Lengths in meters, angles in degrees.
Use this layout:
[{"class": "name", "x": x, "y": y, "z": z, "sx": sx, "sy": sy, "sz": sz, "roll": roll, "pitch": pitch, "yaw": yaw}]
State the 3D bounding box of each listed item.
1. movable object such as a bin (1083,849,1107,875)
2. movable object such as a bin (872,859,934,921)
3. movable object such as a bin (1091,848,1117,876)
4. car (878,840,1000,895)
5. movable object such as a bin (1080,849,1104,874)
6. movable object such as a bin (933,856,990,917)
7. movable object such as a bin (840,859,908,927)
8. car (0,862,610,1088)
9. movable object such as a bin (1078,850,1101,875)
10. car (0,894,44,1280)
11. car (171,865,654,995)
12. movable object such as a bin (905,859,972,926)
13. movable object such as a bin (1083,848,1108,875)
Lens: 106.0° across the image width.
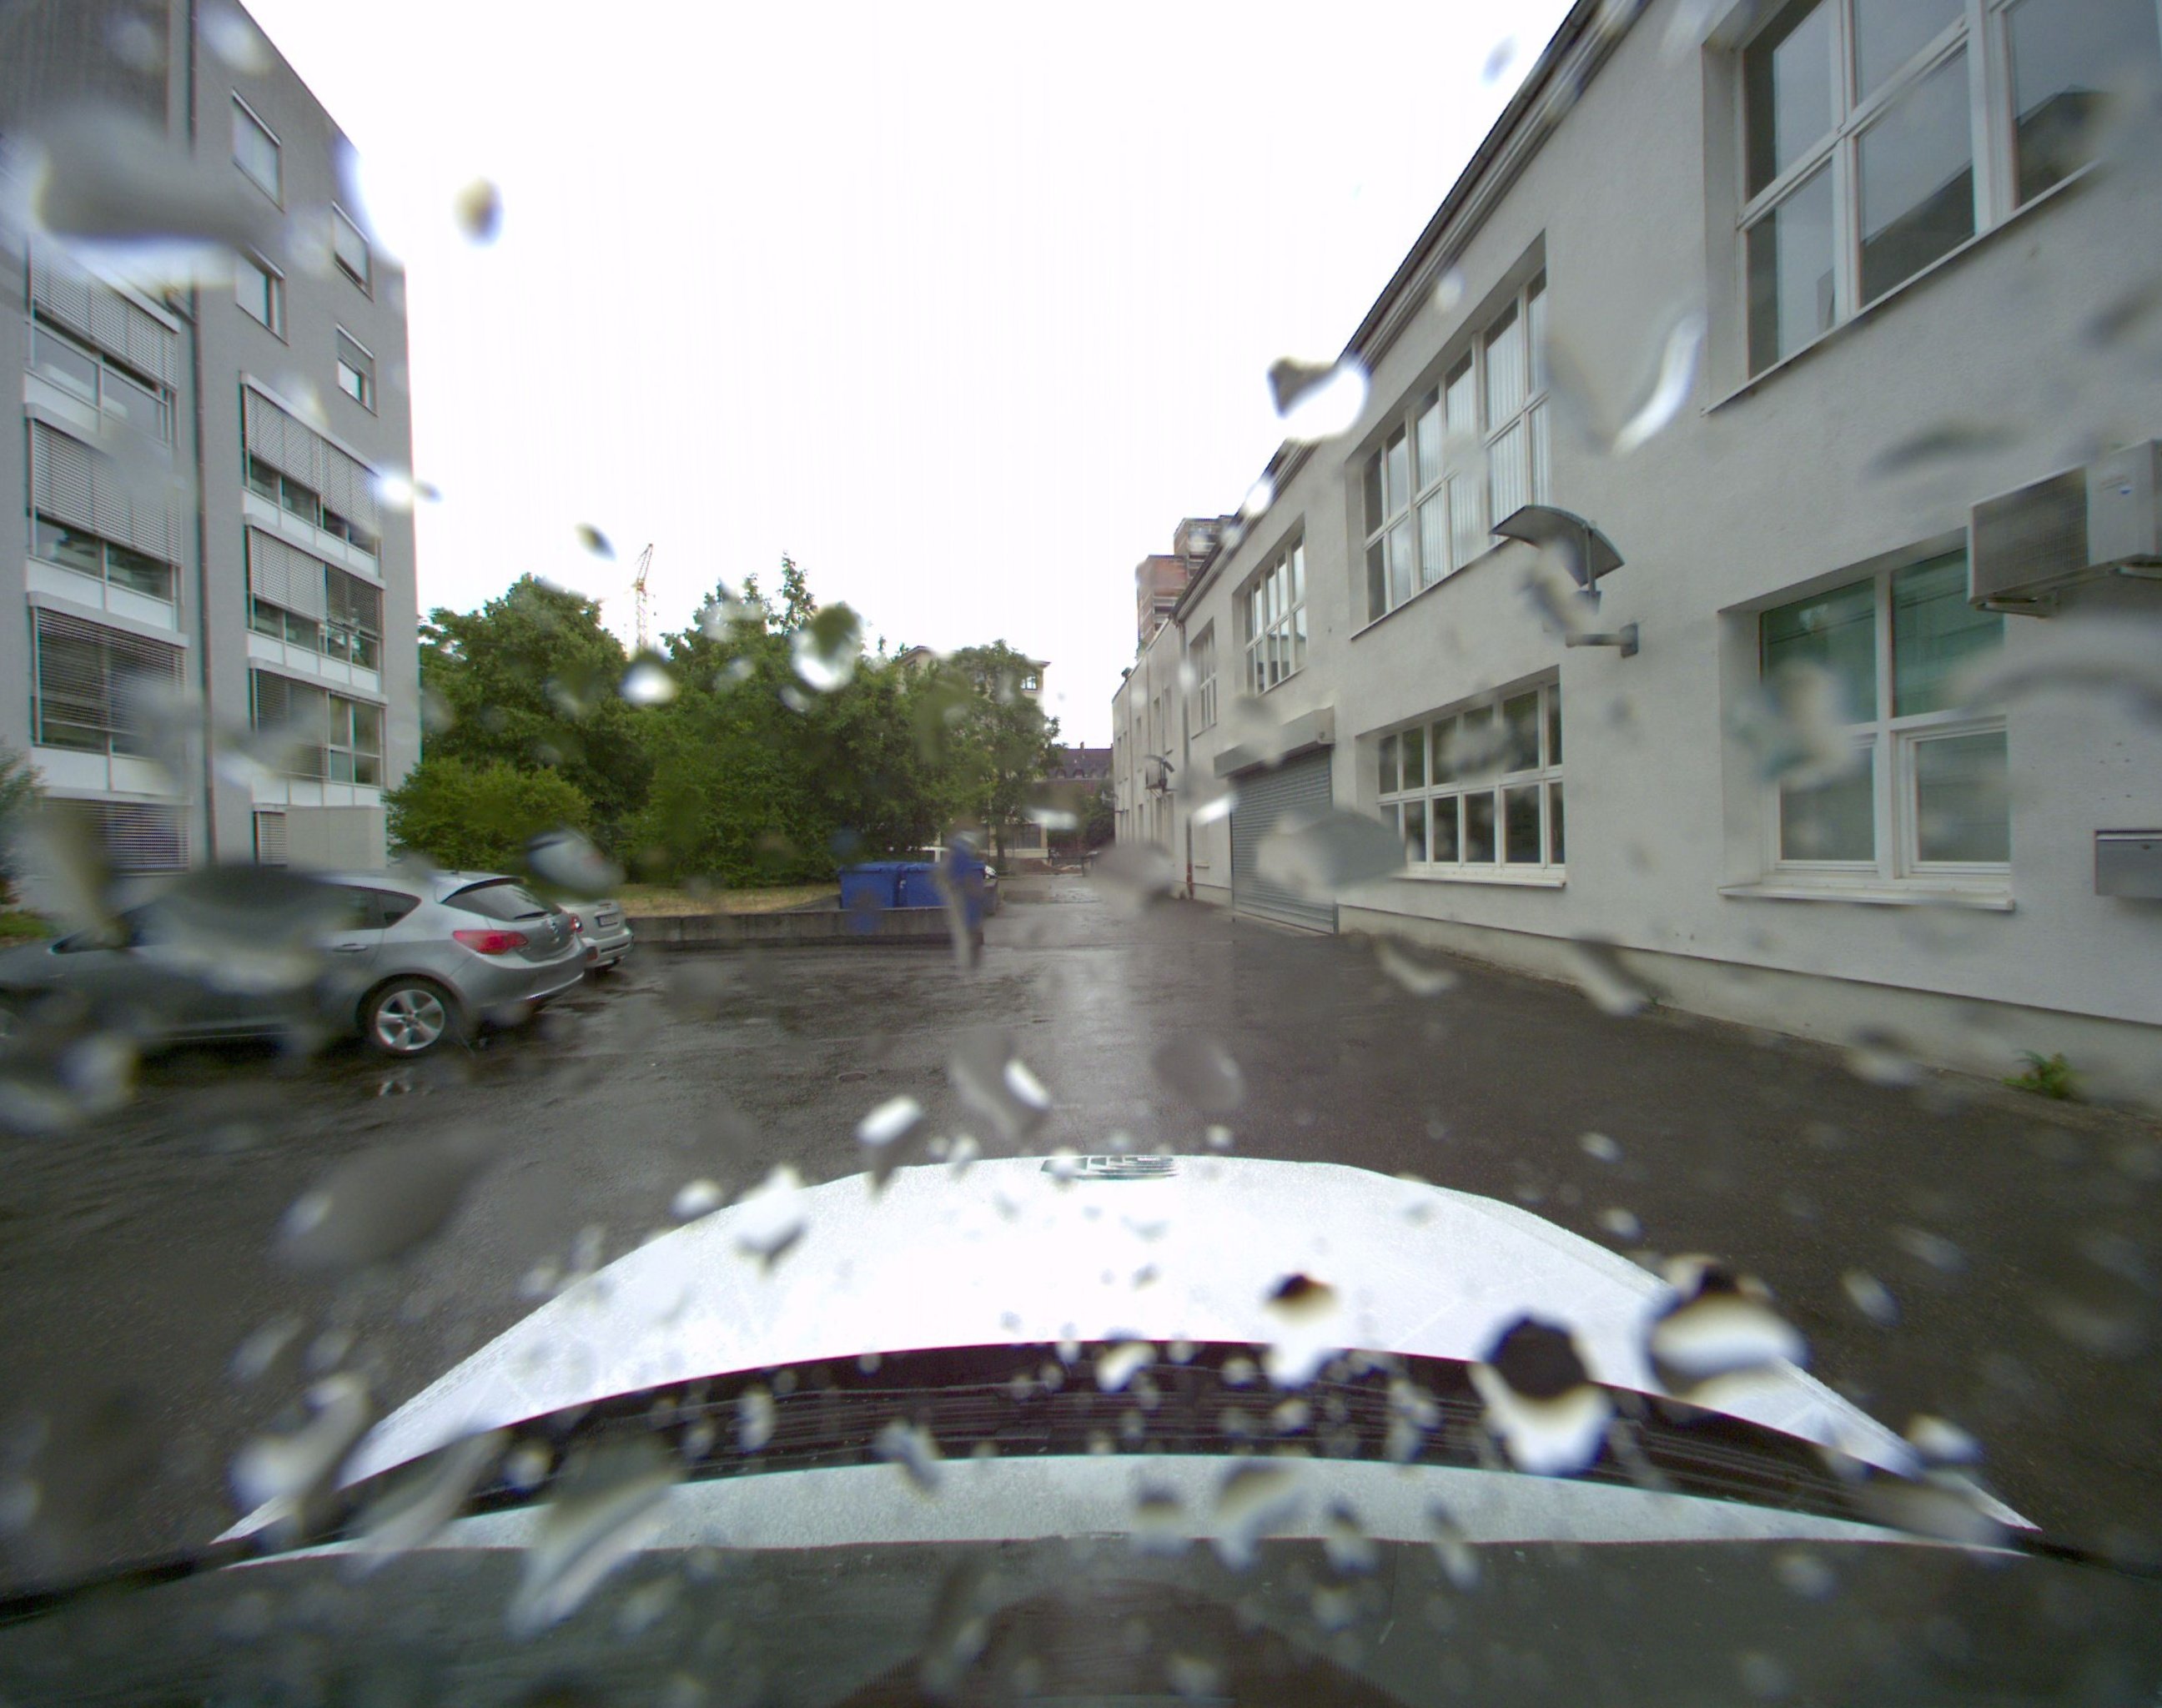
[{"class": "movable object such as a bin", "x": 0.831, "y": 0.459, "z": 47.500, "sx": 1.213, "sy": 1.468, "sz": 1.233, "roll": -1, "pitch": -2, "yaw": -7}, {"class": "movable object such as a bin", "x": -4.085, "y": 0.812, "z": 18.790, "sx": 1.219, "sy": 1.337, "sz": 1.005, "roll": -2, "pitch": 1, "yaw": -5}, {"class": "movable object such as a bin", "x": 1.227, "y": 0.426, "z": 44.205, "sx": 1.213, "sy": 1.437, "sz": 1.233, "roll": -1, "pitch": -2, "yaw": -7}, {"class": "car", "x": -5.862, "y": 0.540, "z": 34.206, "sx": 4.771, "sy": 2.013, "sz": 1.997, "roll": -2, "pitch": 1, "yaw": -4}, {"class": "movable object such as a bin", "x": 0.654, "y": 0.475, "z": 48.863, "sx": 1.213, "sy": 1.437, "sz": 1.256, "roll": -1, "pitch": -2, "yaw": -7}, {"class": "movable object such as a bin", "x": -2.777, "y": 0.749, "z": 19.033, "sx": 1.219, "sy": 1.337, "sz": 1.005, "roll": -2, "pitch": 1, "yaw": -5}, {"class": "movable object such as a bin", "x": -4.318, "y": 0.794, "z": 17.121, "sx": 1.200, "sy": 1.337, "sz": 1.115, "roll": 0, "pitch": 2, "yaw": -5}, {"class": "car", "x": -6.704, "y": 0.897, "z": 6.991, "sx": 4.166, "sy": 1.483, "sz": 1.816, "roll": -2, "pitch": 1, "yaw": -11}, {"class": "movable object such as a bin", "x": 0.517, "y": 0.526, "z": 50.232, "sx": 1.213, "sy": 1.437, "sz": 1.256, "roll": -1, "pitch": -2, "yaw": -7}, {"class": "car", "x": -5.970, "y": 0.928, "z": 1.948, "sx": 4.140, "sy": 1.433, "sz": 1.747, "roll": -2, "pitch": 0, "yaw": -11}, {"class": "car", "x": -7.800, "y": 0.854, "z": 9.948, "sx": 4.164, "sy": 1.333, "sz": 1.817, "roll": 1, "pitch": 1, "yaw": -9}, {"class": "movable object such as a bin", "x": -3.004, "y": 0.790, "z": 17.269, "sx": 1.199, "sy": 1.337, "sz": 1.116, "roll": -2, "pitch": 0, "yaw": -1}, {"class": "movable object such as a bin", "x": 0.832, "y": 0.444, "z": 45.861, "sx": 1.213, "sy": 1.437, "sz": 1.291, "roll": -1, "pitch": -2, "yaw": -7}]
